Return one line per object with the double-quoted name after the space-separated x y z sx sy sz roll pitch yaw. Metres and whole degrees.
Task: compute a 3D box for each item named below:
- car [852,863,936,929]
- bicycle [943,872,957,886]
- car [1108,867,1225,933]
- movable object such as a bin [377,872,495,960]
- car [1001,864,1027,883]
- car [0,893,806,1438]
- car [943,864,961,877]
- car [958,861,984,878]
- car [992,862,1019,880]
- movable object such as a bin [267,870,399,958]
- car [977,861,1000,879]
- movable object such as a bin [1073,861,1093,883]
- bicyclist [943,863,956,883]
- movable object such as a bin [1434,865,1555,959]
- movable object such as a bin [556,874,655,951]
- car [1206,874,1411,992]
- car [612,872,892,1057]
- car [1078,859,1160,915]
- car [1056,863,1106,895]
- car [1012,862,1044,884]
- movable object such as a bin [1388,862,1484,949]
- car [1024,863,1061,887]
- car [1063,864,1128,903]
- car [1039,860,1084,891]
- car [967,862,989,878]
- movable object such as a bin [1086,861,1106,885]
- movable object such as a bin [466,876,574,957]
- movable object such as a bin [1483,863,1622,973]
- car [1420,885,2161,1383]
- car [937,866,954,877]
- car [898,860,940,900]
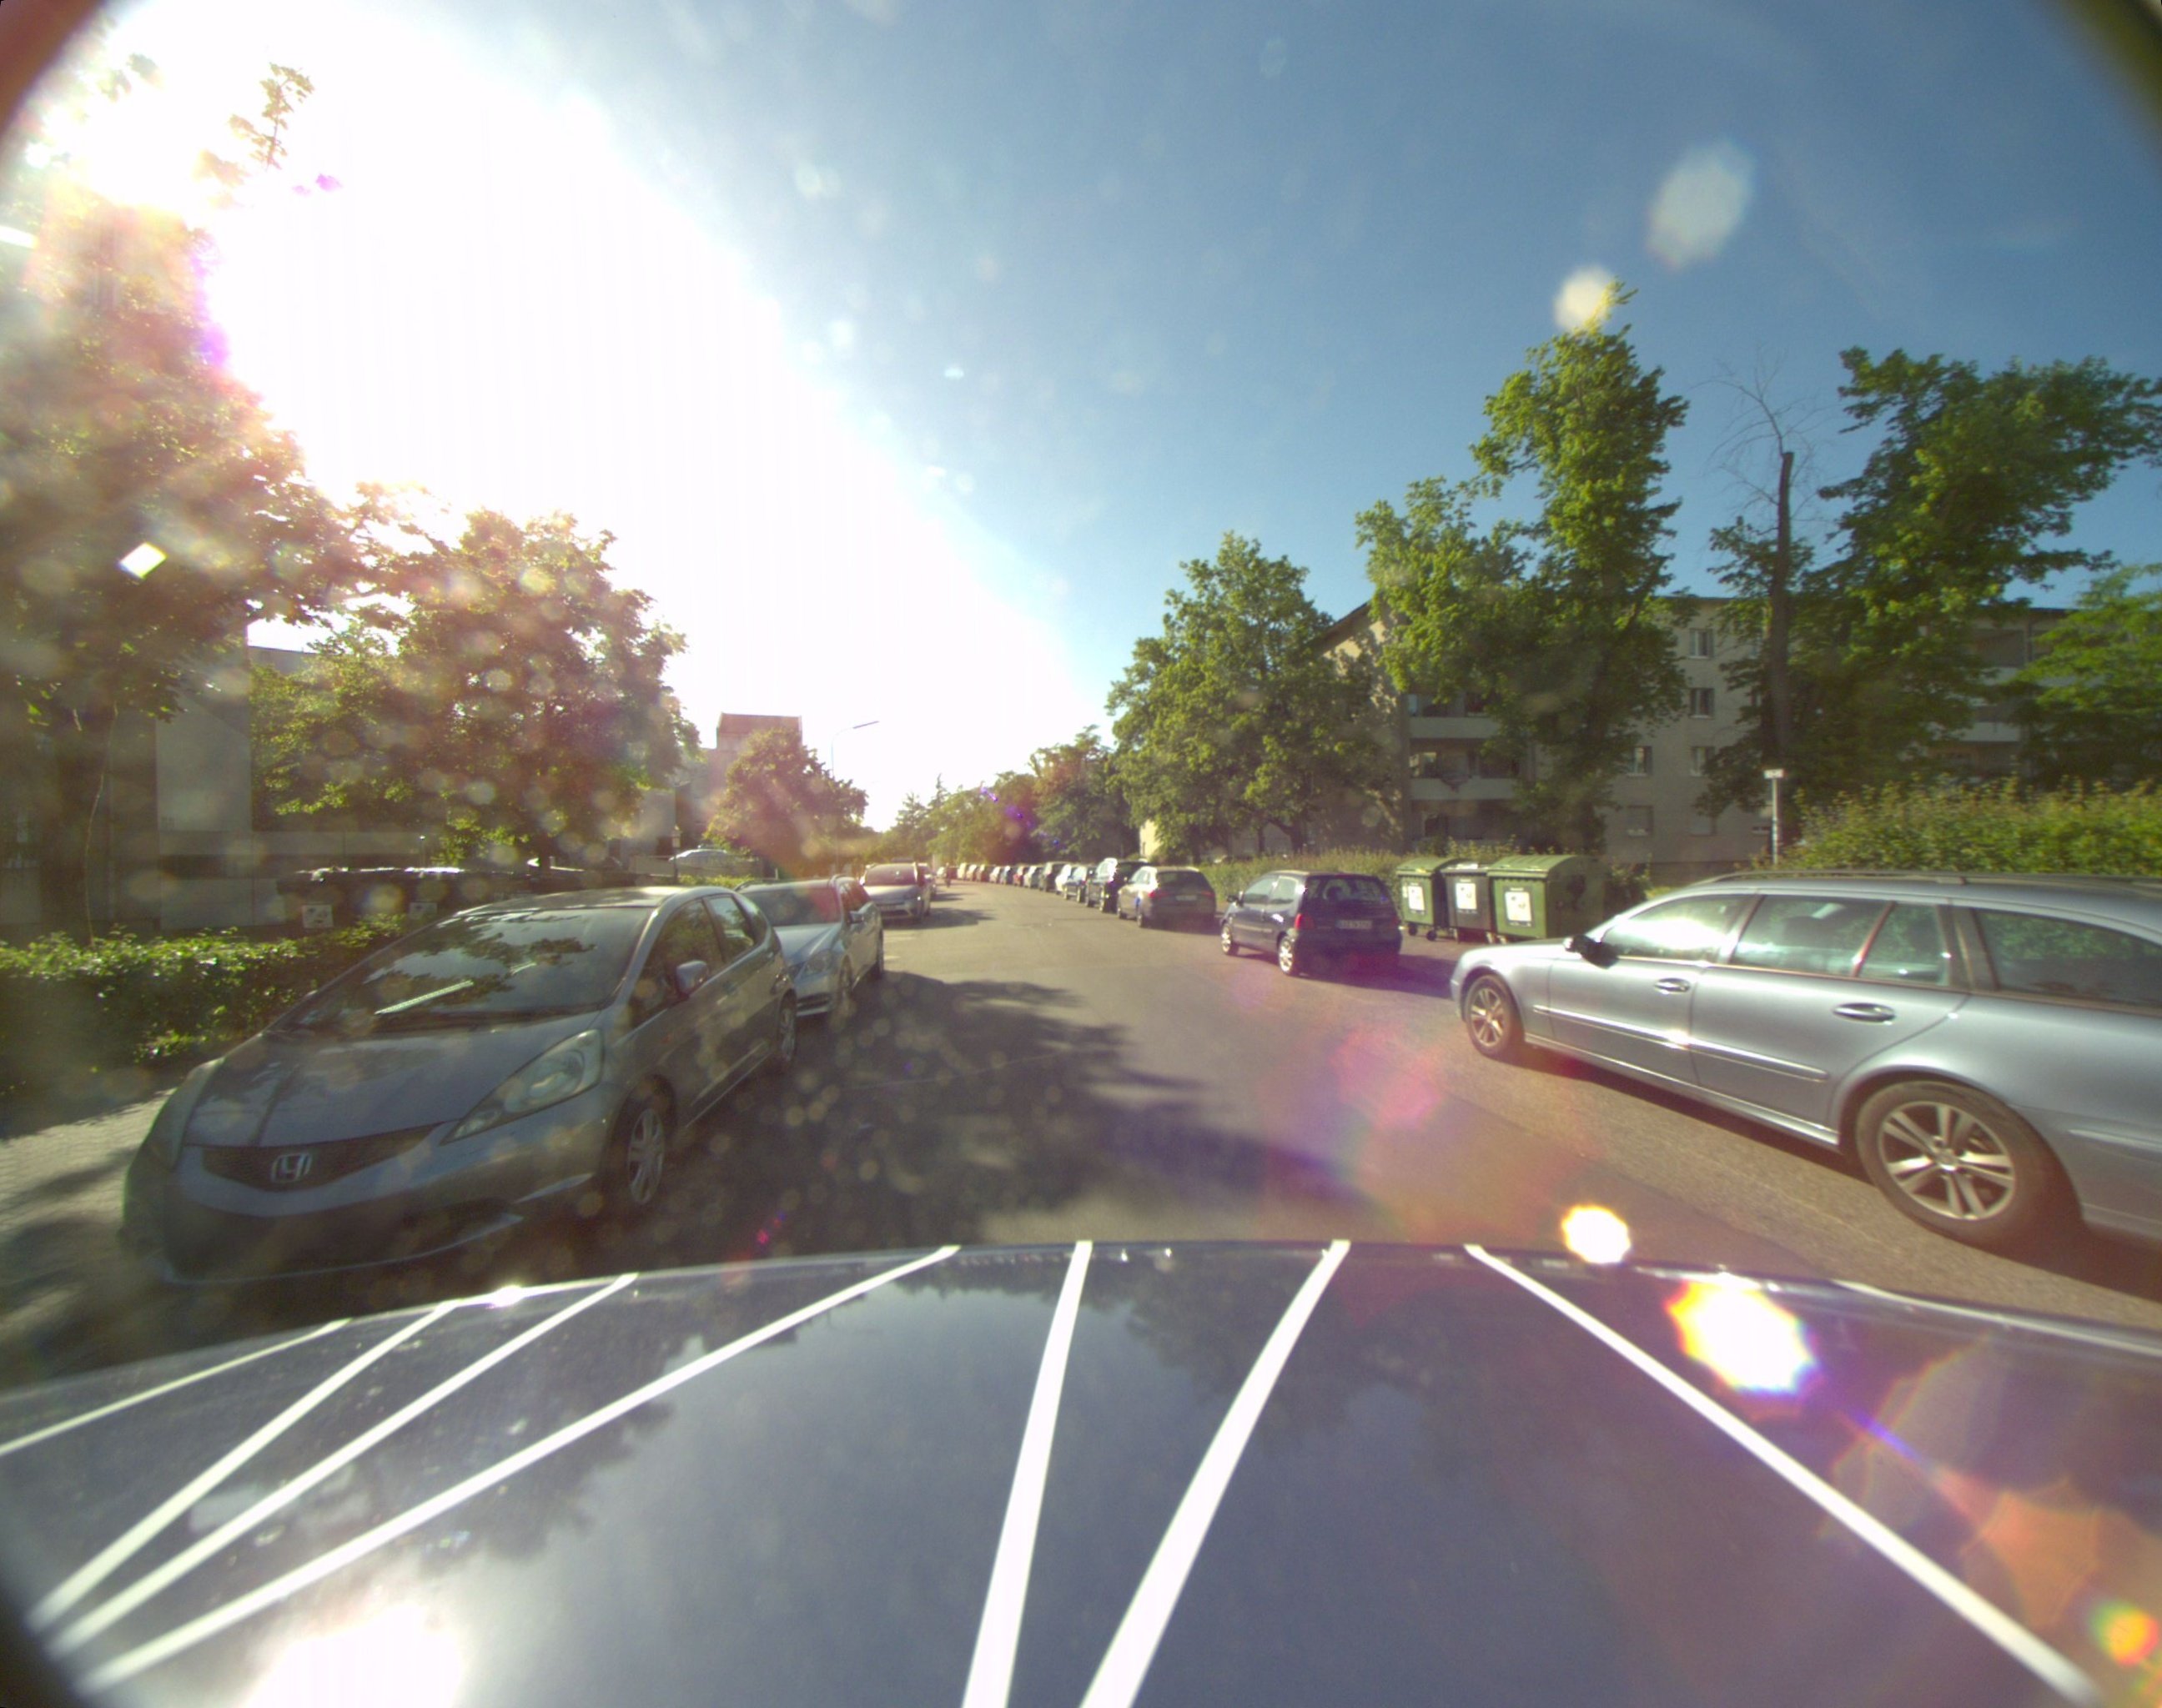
-5.192 1.097 21.645 1.760 1.617 4.492 -1 0 -7 "car"
-9.087 1.704 52.650 0.825 0.895 2.201 -1 0 -12 "bicycle"
2.005 1.074 19.329 1.760 1.377 4.670 0 0 -9 "car"
-12.013 1.126 14.203 1.329 1.528 1.028 -1 0 -14 "movable object such as a bin"
-5.378 1.505 60.572 1.659 1.469 3.102 0 -1 -13 "car"
-2.967 1.067 4.311 1.810 1.486 3.793 -1 0 -7 "car"
-16.237 2.024 95.393 1.660 1.558 3.684 0 -1 -19 "car"
-12.208 1.660 83.937 1.887 1.857 5.431 0 -1 -18 "car"
-6.566 1.452 65.572 1.660 1.469 3.731 0 -1 -16 "car"
-13.504 1.048 13.778 1.327 1.472 1.028 -1 0 -14 "movable object such as a bin"
-8.883 1.493 72.503 1.660 1.621 4.067 0 -1 -14 "car"
0.143 1.189 50.126 1.008 1.407 1.263 -4 1 -12 "movable object such as a bin"
-9.144 1.324 52.841 0.813 1.348 1.090 -1 0 -13 "bicyclist"
6.656 0.889 12.296 1.123 1.358 1.256 -4 1 -10 "movable object such as a bin"
-9.232 1.113 14.813 1.329 1.419 1.069 2 -1 -14 "movable object such as a bin"
3.268 1.066 11.625 1.654 1.455 3.493 0 -1 -9 "car"
-3.528 1.044 9.188 1.836 1.537 4.638 -1 0 -7 "car"
1.122 0.997 24.667 1.760 1.658 4.387 0 -1 -9 "car"
-0.061 1.137 35.900 1.760 1.428 4.147 0 -1 -9 "car"
-3.795 1.330 53.677 1.637 1.469 3.875 0 -1 -13 "car"
6.308 0.880 13.573 0.897 1.407 1.325 -4 1 -10 "movable object such as a bin"
-2.501 1.285 48.628 1.813 1.469 3.937 0 -1 -11 "car"
0.485 1.106 29.778 1.644 1.377 4.167 0 -1 -12 "car"
-1.159 1.141 41.888 1.812 1.596 4.428 0 -1 -10 "car"
-10.634 1.623 78.152 1.660 1.621 3.685 0 -1 -16 "car"
0.925 1.165 47.691 0.897 1.407 1.263 -4 1 -12 "movable object such as a bin"
-10.670 1.156 14.518 1.329 1.422 1.028 -1 0 -14 "movable object such as a bin"
6.733 0.868 10.927 1.005 1.407 1.325 -4 1 -10 "movable object such as a bin"
4.105 0.989 4.261 1.760 1.481 4.898 2 -1 -6 "car"
-17.999 2.371 101.072 1.660 1.426 3.684 0 -1 -19 "car"
-7.426 1.151 34.928 1.760 1.664 4.409 -1 0 -12 "car"
